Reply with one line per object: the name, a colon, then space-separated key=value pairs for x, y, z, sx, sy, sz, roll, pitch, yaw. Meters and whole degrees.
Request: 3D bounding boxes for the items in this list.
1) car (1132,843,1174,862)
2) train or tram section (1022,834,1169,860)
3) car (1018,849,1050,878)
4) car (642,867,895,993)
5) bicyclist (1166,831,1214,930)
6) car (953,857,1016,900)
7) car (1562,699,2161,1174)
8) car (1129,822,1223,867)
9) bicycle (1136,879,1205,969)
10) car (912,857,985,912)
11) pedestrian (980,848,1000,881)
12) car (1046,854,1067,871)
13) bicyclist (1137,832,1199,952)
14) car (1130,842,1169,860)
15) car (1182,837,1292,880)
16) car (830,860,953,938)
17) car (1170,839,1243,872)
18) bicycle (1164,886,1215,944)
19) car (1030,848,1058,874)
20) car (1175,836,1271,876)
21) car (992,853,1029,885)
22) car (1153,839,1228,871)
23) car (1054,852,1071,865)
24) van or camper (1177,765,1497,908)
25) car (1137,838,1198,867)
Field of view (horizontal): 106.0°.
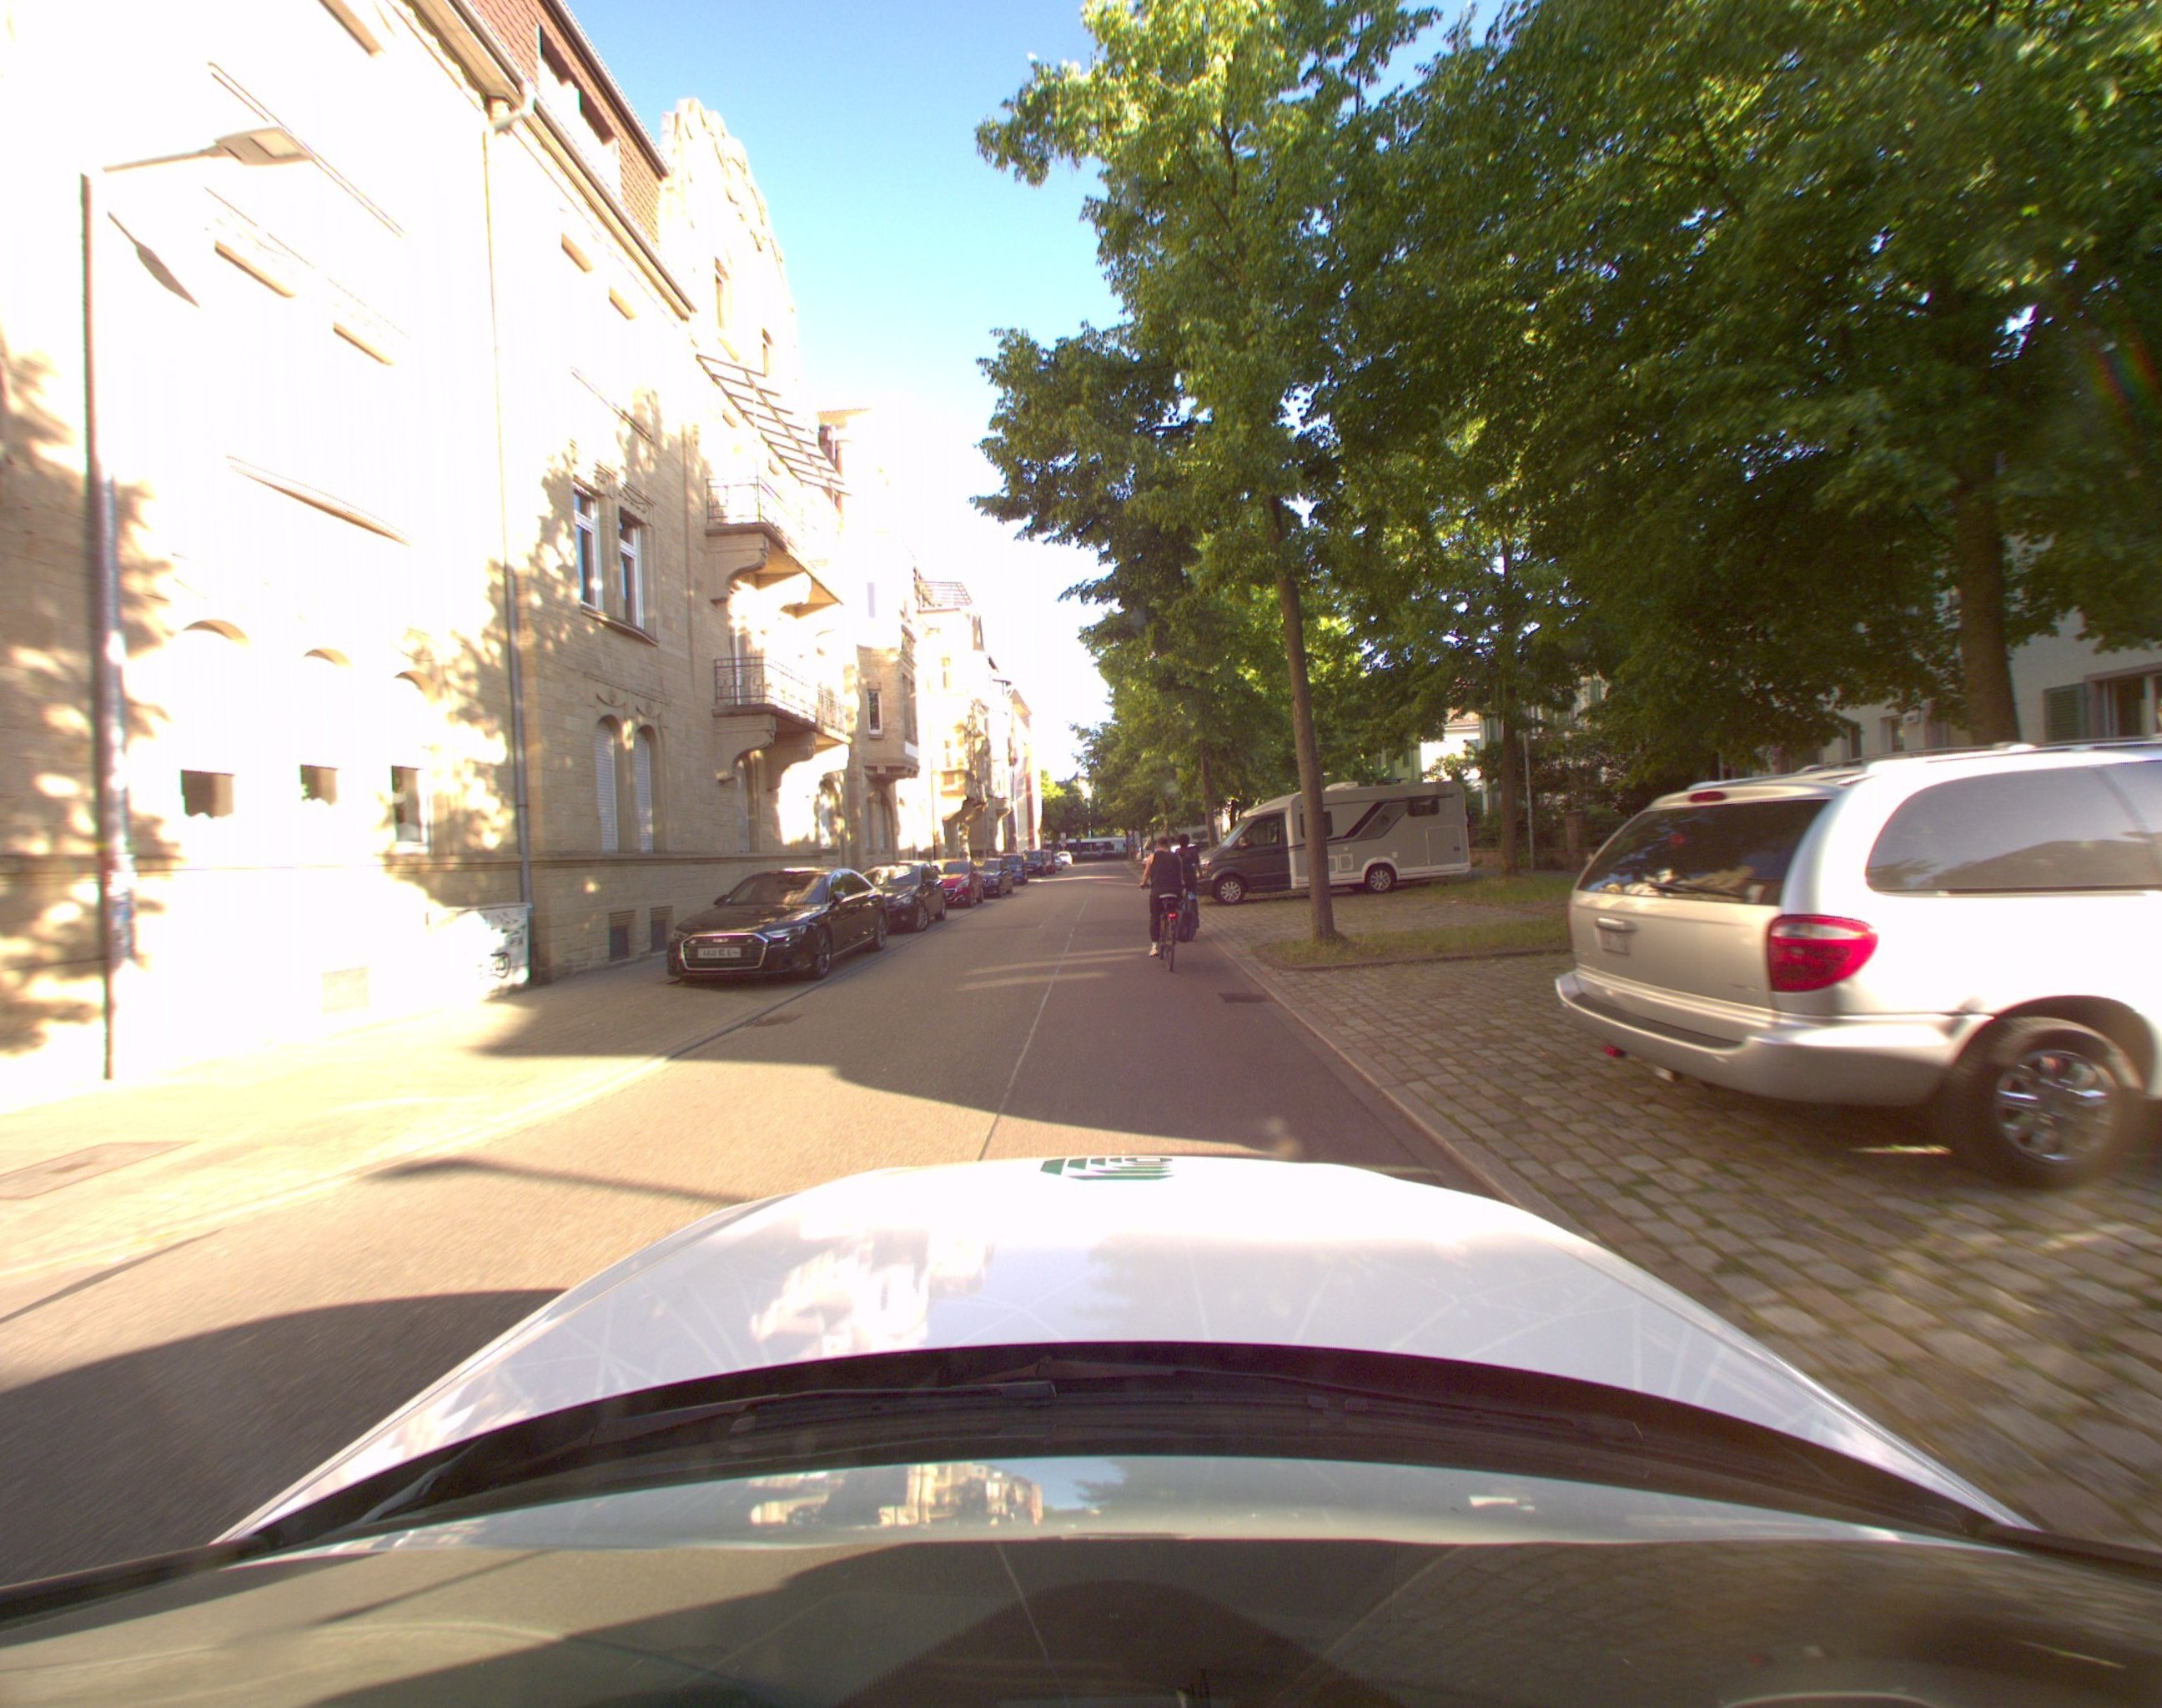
car: x=7.055 y=-0.153 z=79.998 sx=3.975 sy=1.803 sz=1.833 roll=-1 pitch=0 yaw=-1
train or tram section: x=2.520 y=-1.201 z=131.513 sx=23.892 sy=3.708 sz=4.256 roll=-1 pitch=0 yaw=-21
car: x=-3.061 y=0.563 z=53.638 sx=1.634 sy=1.783 sz=4.357 roll=-1 pitch=1 yaw=2
car: x=-4.313 y=0.947 z=12.230 sx=1.804 sy=1.427 sz=4.899 roll=0 pitch=0 yaw=1
bicyclist: x=1.860 y=0.437 z=14.061 sx=0.686 sy=1.626 sz=0.999 roll=-2 pitch=0 yaw=2
car: x=-3.616 y=0.871 z=31.349 sx=1.669 sy=1.430 sz=4.553 roll=-1 pitch=1 yaw=2
car: x=5.233 y=0.170 z=3.939 sx=4.601 sy=1.709 sz=1.835 roll=-5 pitch=0 yaw=3
car: x=7.582 y=-0.749 z=65.676 sx=7.127 sy=2.978 sz=2.463 roll=-5 pitch=0 yaw=-1
bicycle: x=1.165 y=0.889 z=11.016 sx=0.735 sy=1.054 sz=1.956 roll=-1 pitch=-1 yaw=1
car: x=-4.006 y=0.873 z=25.207 sx=1.624 sy=1.453 sz=3.837 roll=-2 pitch=1 yaw=-1
pedestrian: x=-5.004 y=0.565 z=44.633 sx=0.934 sy=1.742 sz=0.735 roll=-1 pitch=-1 yaw=2
car: x=-2.130 y=0.690 z=71.213 sx=1.577 sy=1.343 sz=4.134 roll=-1 pitch=1 yaw=2
bicyclist: x=1.159 y=0.497 z=11.005 sx=0.727 sy=1.547 sz=0.884 roll=-1 pitch=-1 yaw=0
car: x=7.369 y=-0.316 z=87.884 sx=3.975 sy=1.803 sz=1.833 roll=-1 pitch=0 yaw=-1
car: x=6.232 y=0.169 z=32.780 sx=4.022 sy=1.454 sz=1.689 roll=-3 pitch=0 yaw=-3
car: x=-4.054 y=0.899 z=18.094 sx=1.690 sy=1.453 sz=4.027 roll=-3 pitch=0 yaw=0
car: x=6.847 y=0.105 z=44.806 sx=3.757 sy=1.599 sz=1.692 roll=-3 pitch=-2 yaw=3
bicycle: x=1.827 y=1.004 z=13.901 sx=0.631 sy=0.799 sz=1.833 roll=-3 pitch=1 yaw=2
car: x=-2.706 y=0.472 z=60.709 sx=1.682 sy=1.825 sz=4.275 roll=-1 pitch=1 yaw=2
car: x=6.599 y=0.106 z=38.271 sx=4.205 sy=1.599 sz=1.692 roll=-3 pitch=-2 yaw=3
car: x=-3.461 y=0.715 z=40.407 sx=1.590 sy=1.489 sz=2.736 roll=1 pitch=1 yaw=0
car: x=6.332 y=0.093 z=47.243 sx=4.121 sy=1.599 sz=1.704 roll=-3 pitch=-2 yaw=3
car: x=-1.994 y=0.463 z=89.195 sx=1.577 sy=1.375 sz=4.134 roll=-1 pitch=1 yaw=2
van or camper: x=6.154 y=-0.419 z=20.460 sx=7.117 sy=2.646 sz=2.467 roll=-6 pitch=0 yaw=3
car: x=6.182 y=-0.077 z=58.323 sx=4.070 sy=1.649 sz=1.640 roll=-6 pitch=0 yaw=-1
